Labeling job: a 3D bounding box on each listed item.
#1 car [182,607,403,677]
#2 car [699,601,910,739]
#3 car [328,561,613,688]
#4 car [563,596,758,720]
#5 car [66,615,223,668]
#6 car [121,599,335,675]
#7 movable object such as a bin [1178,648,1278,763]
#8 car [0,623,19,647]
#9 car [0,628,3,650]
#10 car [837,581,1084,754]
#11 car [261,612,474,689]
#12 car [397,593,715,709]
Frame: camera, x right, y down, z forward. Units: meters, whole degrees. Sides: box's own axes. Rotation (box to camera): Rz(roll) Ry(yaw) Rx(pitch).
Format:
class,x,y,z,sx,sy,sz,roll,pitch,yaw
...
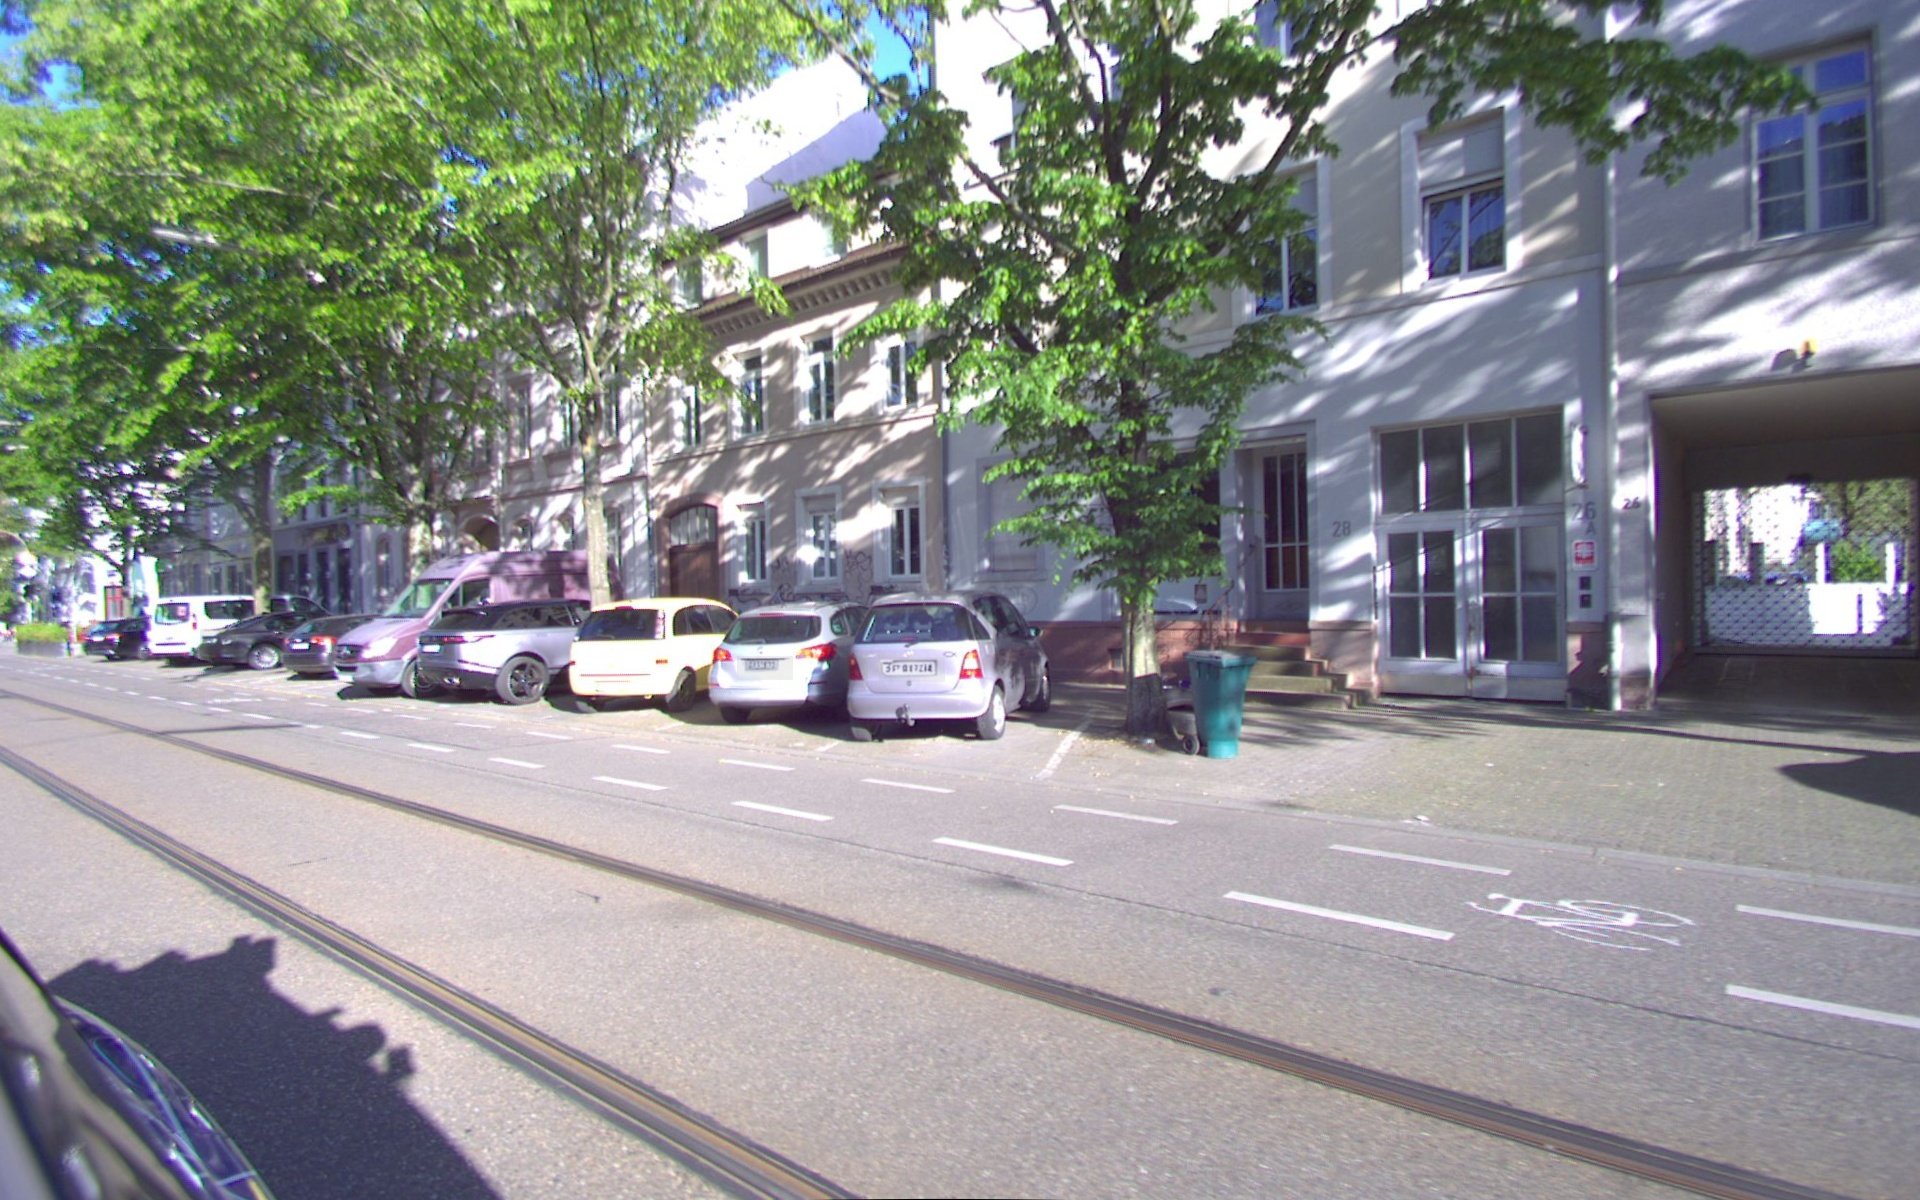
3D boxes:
class,x,y,z,sx,sy,sz,roll,pitch,yaw
car,-18.222,1.090,27.850,1.950,1.588,4.654,-2,1,35
car,-1.904,0.840,13.681,1.683,1.564,4.161,-1,-1,8
car,-9.207,0.404,19.342,2.160,2.134,4.395,-2,0,37
car,-4.433,0.782,15.460,1.370,1.564,3.362,-1,2,12
car,-27.773,1.372,34.639,1.762,1.569,3.988,-1,1,10
car,-21.324,1.032,29.778,2.056,2.029,4.914,-1,-1,16
movable object such as a bin,2.430,0.930,9.171,0.669,0.952,0.615,-1,-1,39
car,-61.400,2.232,63.495,1.496,1.464,3.294,0,2,41
car,-65.233,2.644,66.476,1.495,1.464,3.295,0,2,41
car,0.195,0.659,12.050,1.689,1.689,3.974,-2,0,20
car,-13.621,1.106,23.532,1.661,1.464,4.066,-1,1,24
car,-6.933,0.773,17.851,2.160,1.737,4.783,-1,0,37
